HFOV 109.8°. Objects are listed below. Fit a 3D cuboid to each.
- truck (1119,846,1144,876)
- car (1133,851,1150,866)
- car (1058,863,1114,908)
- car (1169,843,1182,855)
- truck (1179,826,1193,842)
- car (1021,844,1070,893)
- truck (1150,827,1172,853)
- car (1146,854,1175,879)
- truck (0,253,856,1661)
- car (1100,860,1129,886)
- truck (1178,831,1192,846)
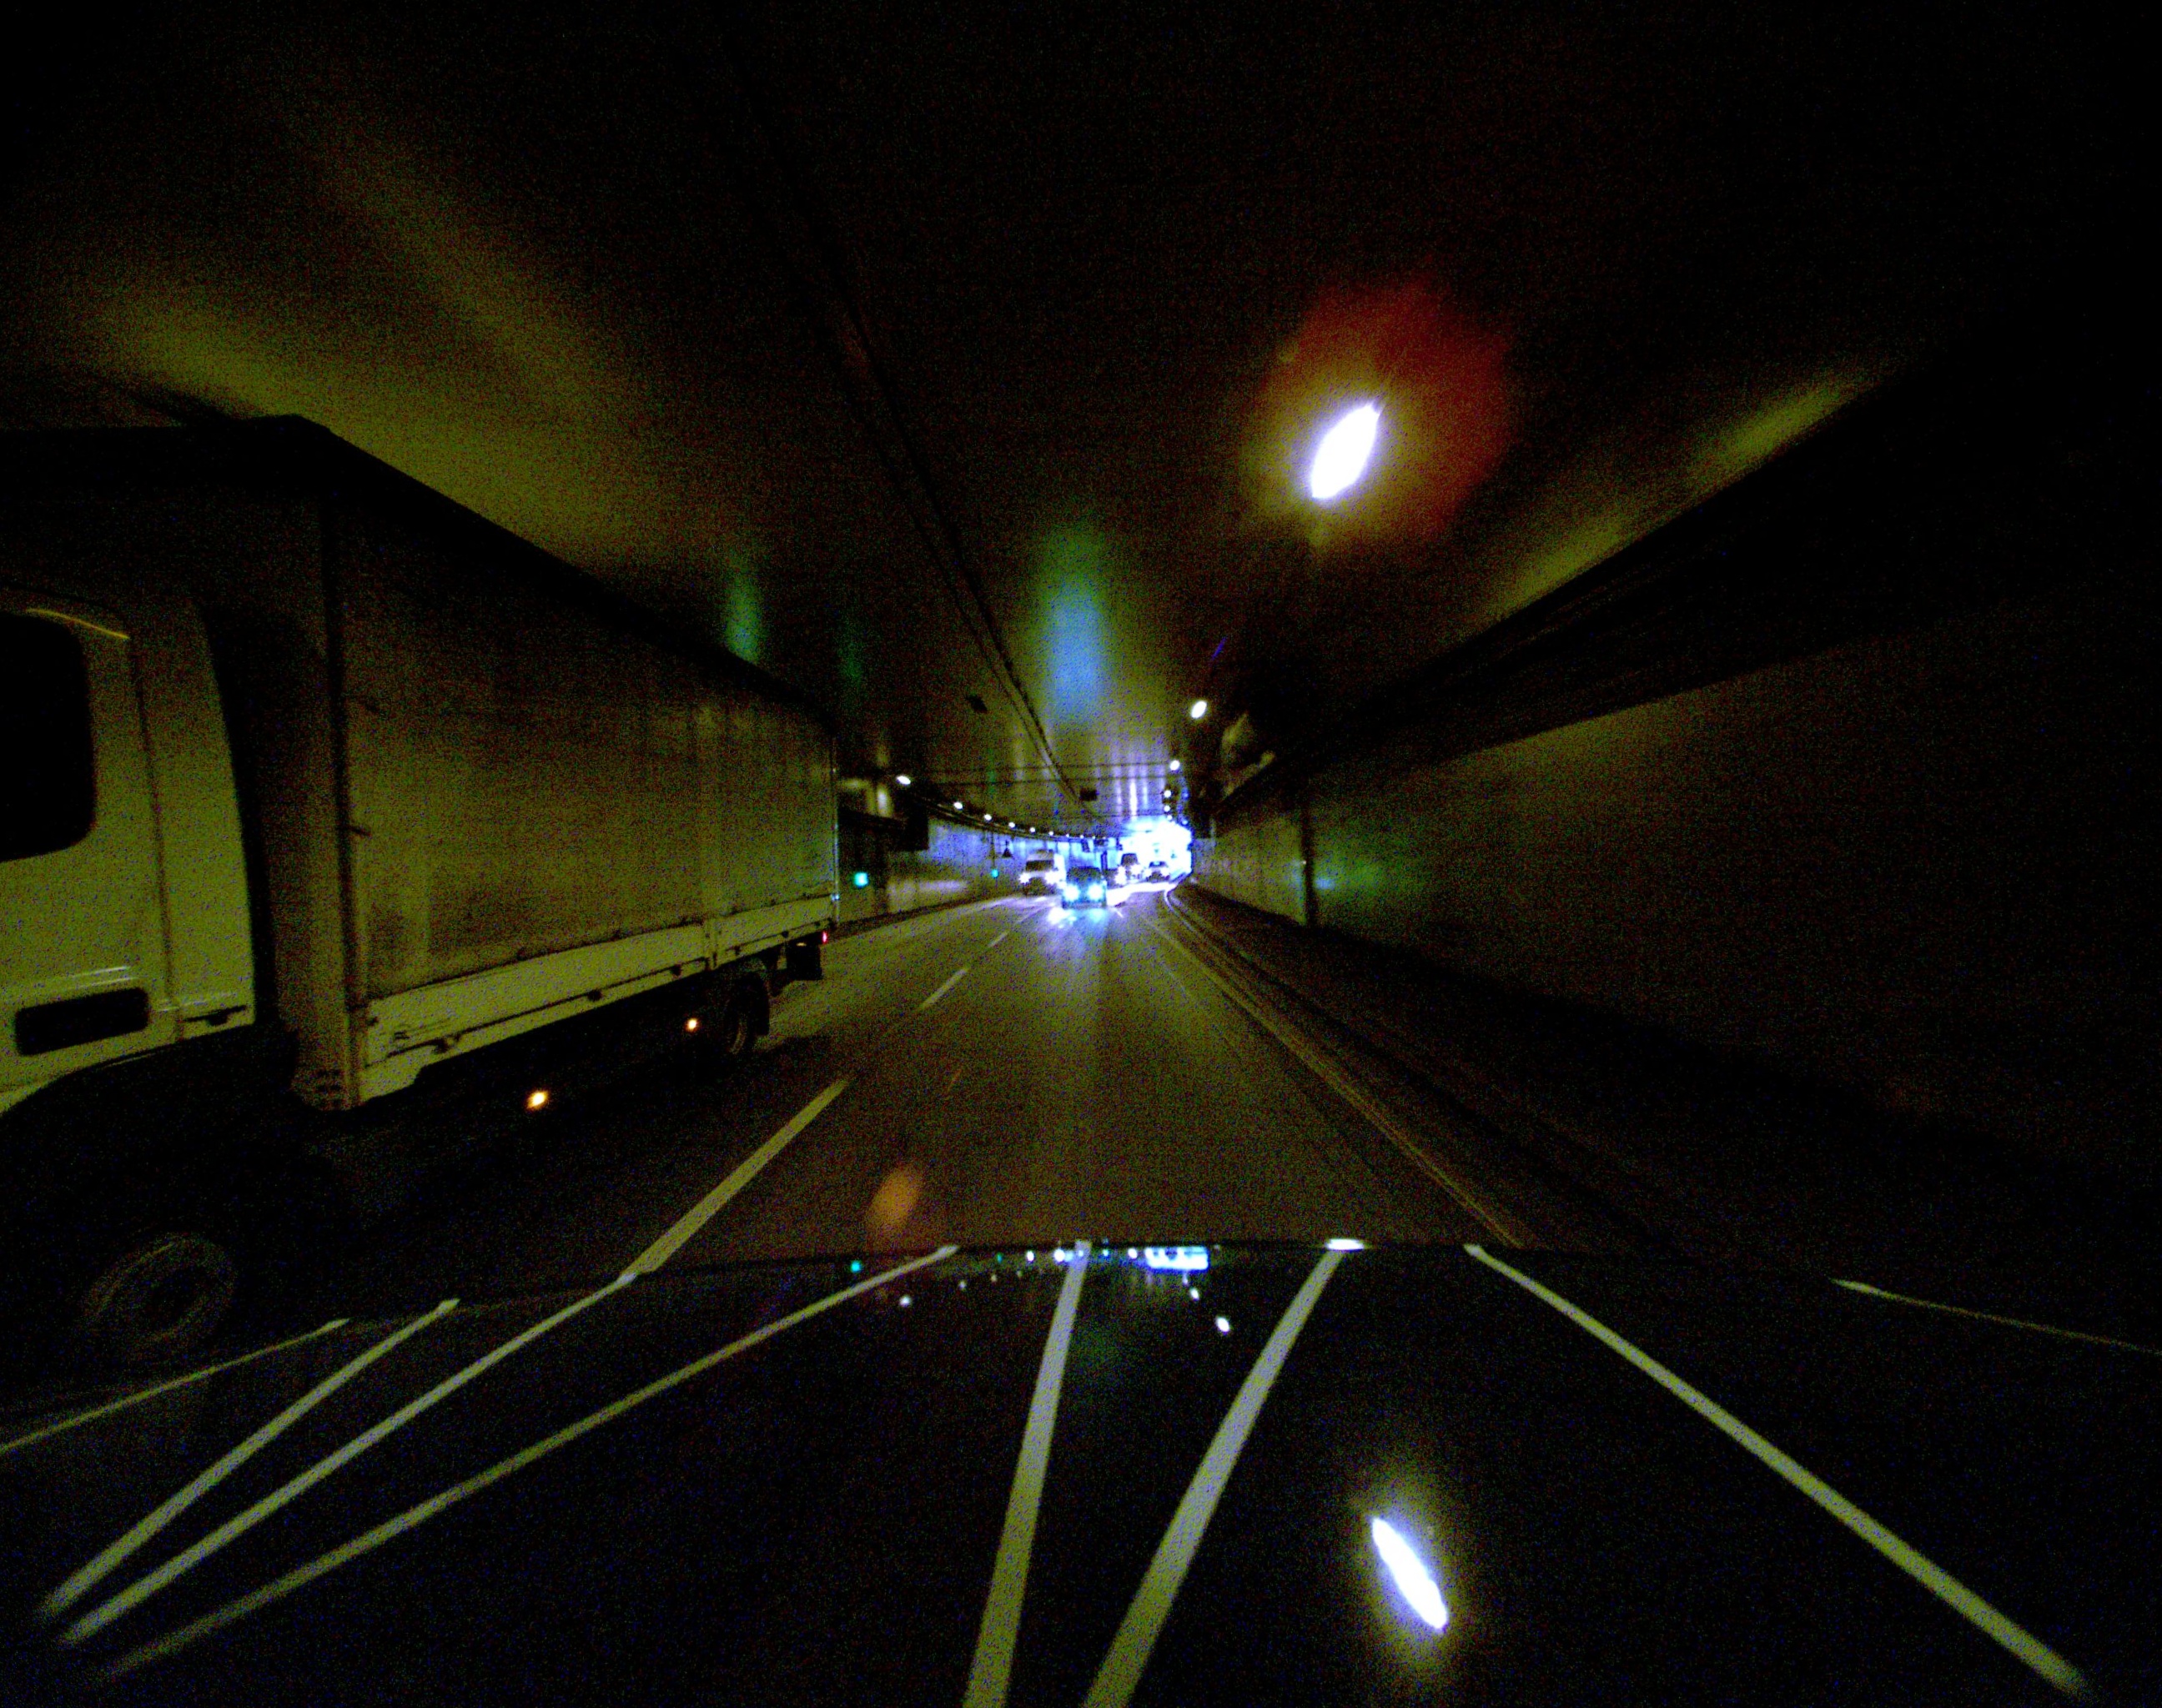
[{"bbox_3d":[5.209,0.669,77.945,2.073,2.526,6.023,-5,3,7],"label":"truck"},{"bbox_3d":[7.830,0.577,98.271,1.638,1.662,3.717,-4,3,13],"label":"car"},{"bbox_3d":[0.258,1.169,29.078,1.638,1.551,3.719,-2,-1,8],"label":"car"},{"bbox_3d":[16.432,-0.870,132.052,1.949,1.525,4.000,-5,3,12],"label":"car"},{"bbox_3d":[24.474,-4.768,177.296,2.492,3.370,6.378,-4,3,13],"label":"truck"},{"bbox_3d":[-2.177,0.918,48.285,2.106,2.830,6.865,-3,-1,5],"label":"car"},{"bbox_3d":[15.601,-2.821,147.496,2.885,4.448,10.457,-4,3,12],"label":"truck"},{"bbox_3d":[7.108,1.059,67.630,1.934,1.918,4.200,-4,0,13],"label":"car"},{"bbox_3d":[-3.697,0.256,4.250,2.560,3.162,7.245,-2,0,0],"label":"truck"},{"bbox_3d":[2.475,1.334,55.924,1.764,1.552,3.819,-5,2,6],"label":"car"},{"bbox_3d":[21.414,-3.180,156.003,2.137,2.713,5.673,-4,3,13],"label":"truck"}]
